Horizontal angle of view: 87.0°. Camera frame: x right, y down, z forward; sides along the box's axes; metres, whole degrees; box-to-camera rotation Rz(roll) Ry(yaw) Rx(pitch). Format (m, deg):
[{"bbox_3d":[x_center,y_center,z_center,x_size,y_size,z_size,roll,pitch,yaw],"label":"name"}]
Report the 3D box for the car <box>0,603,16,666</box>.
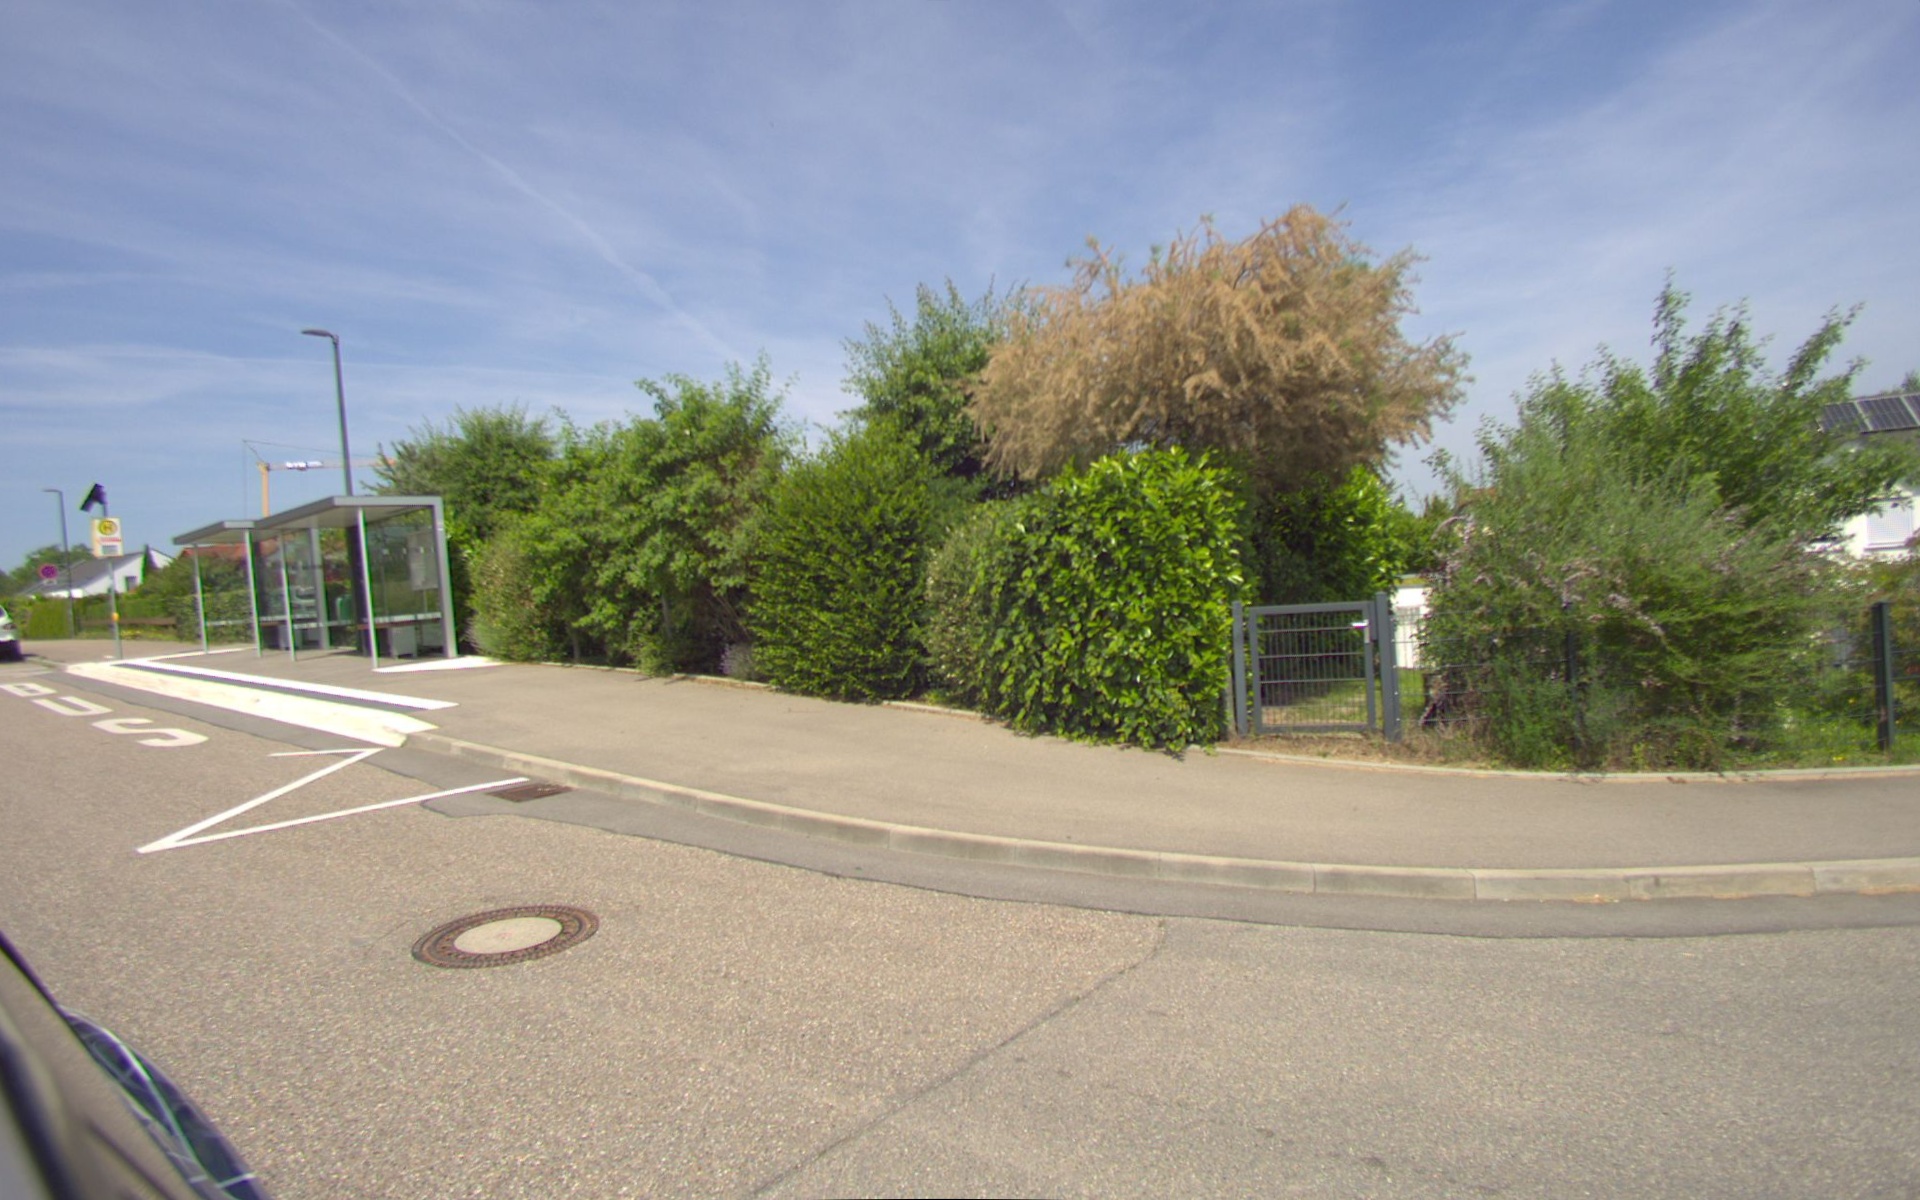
[{"bbox_3d":[-27.599,1.000,27.927,4.349,1.645,1.717,-1,2,41],"label":"car"}]
